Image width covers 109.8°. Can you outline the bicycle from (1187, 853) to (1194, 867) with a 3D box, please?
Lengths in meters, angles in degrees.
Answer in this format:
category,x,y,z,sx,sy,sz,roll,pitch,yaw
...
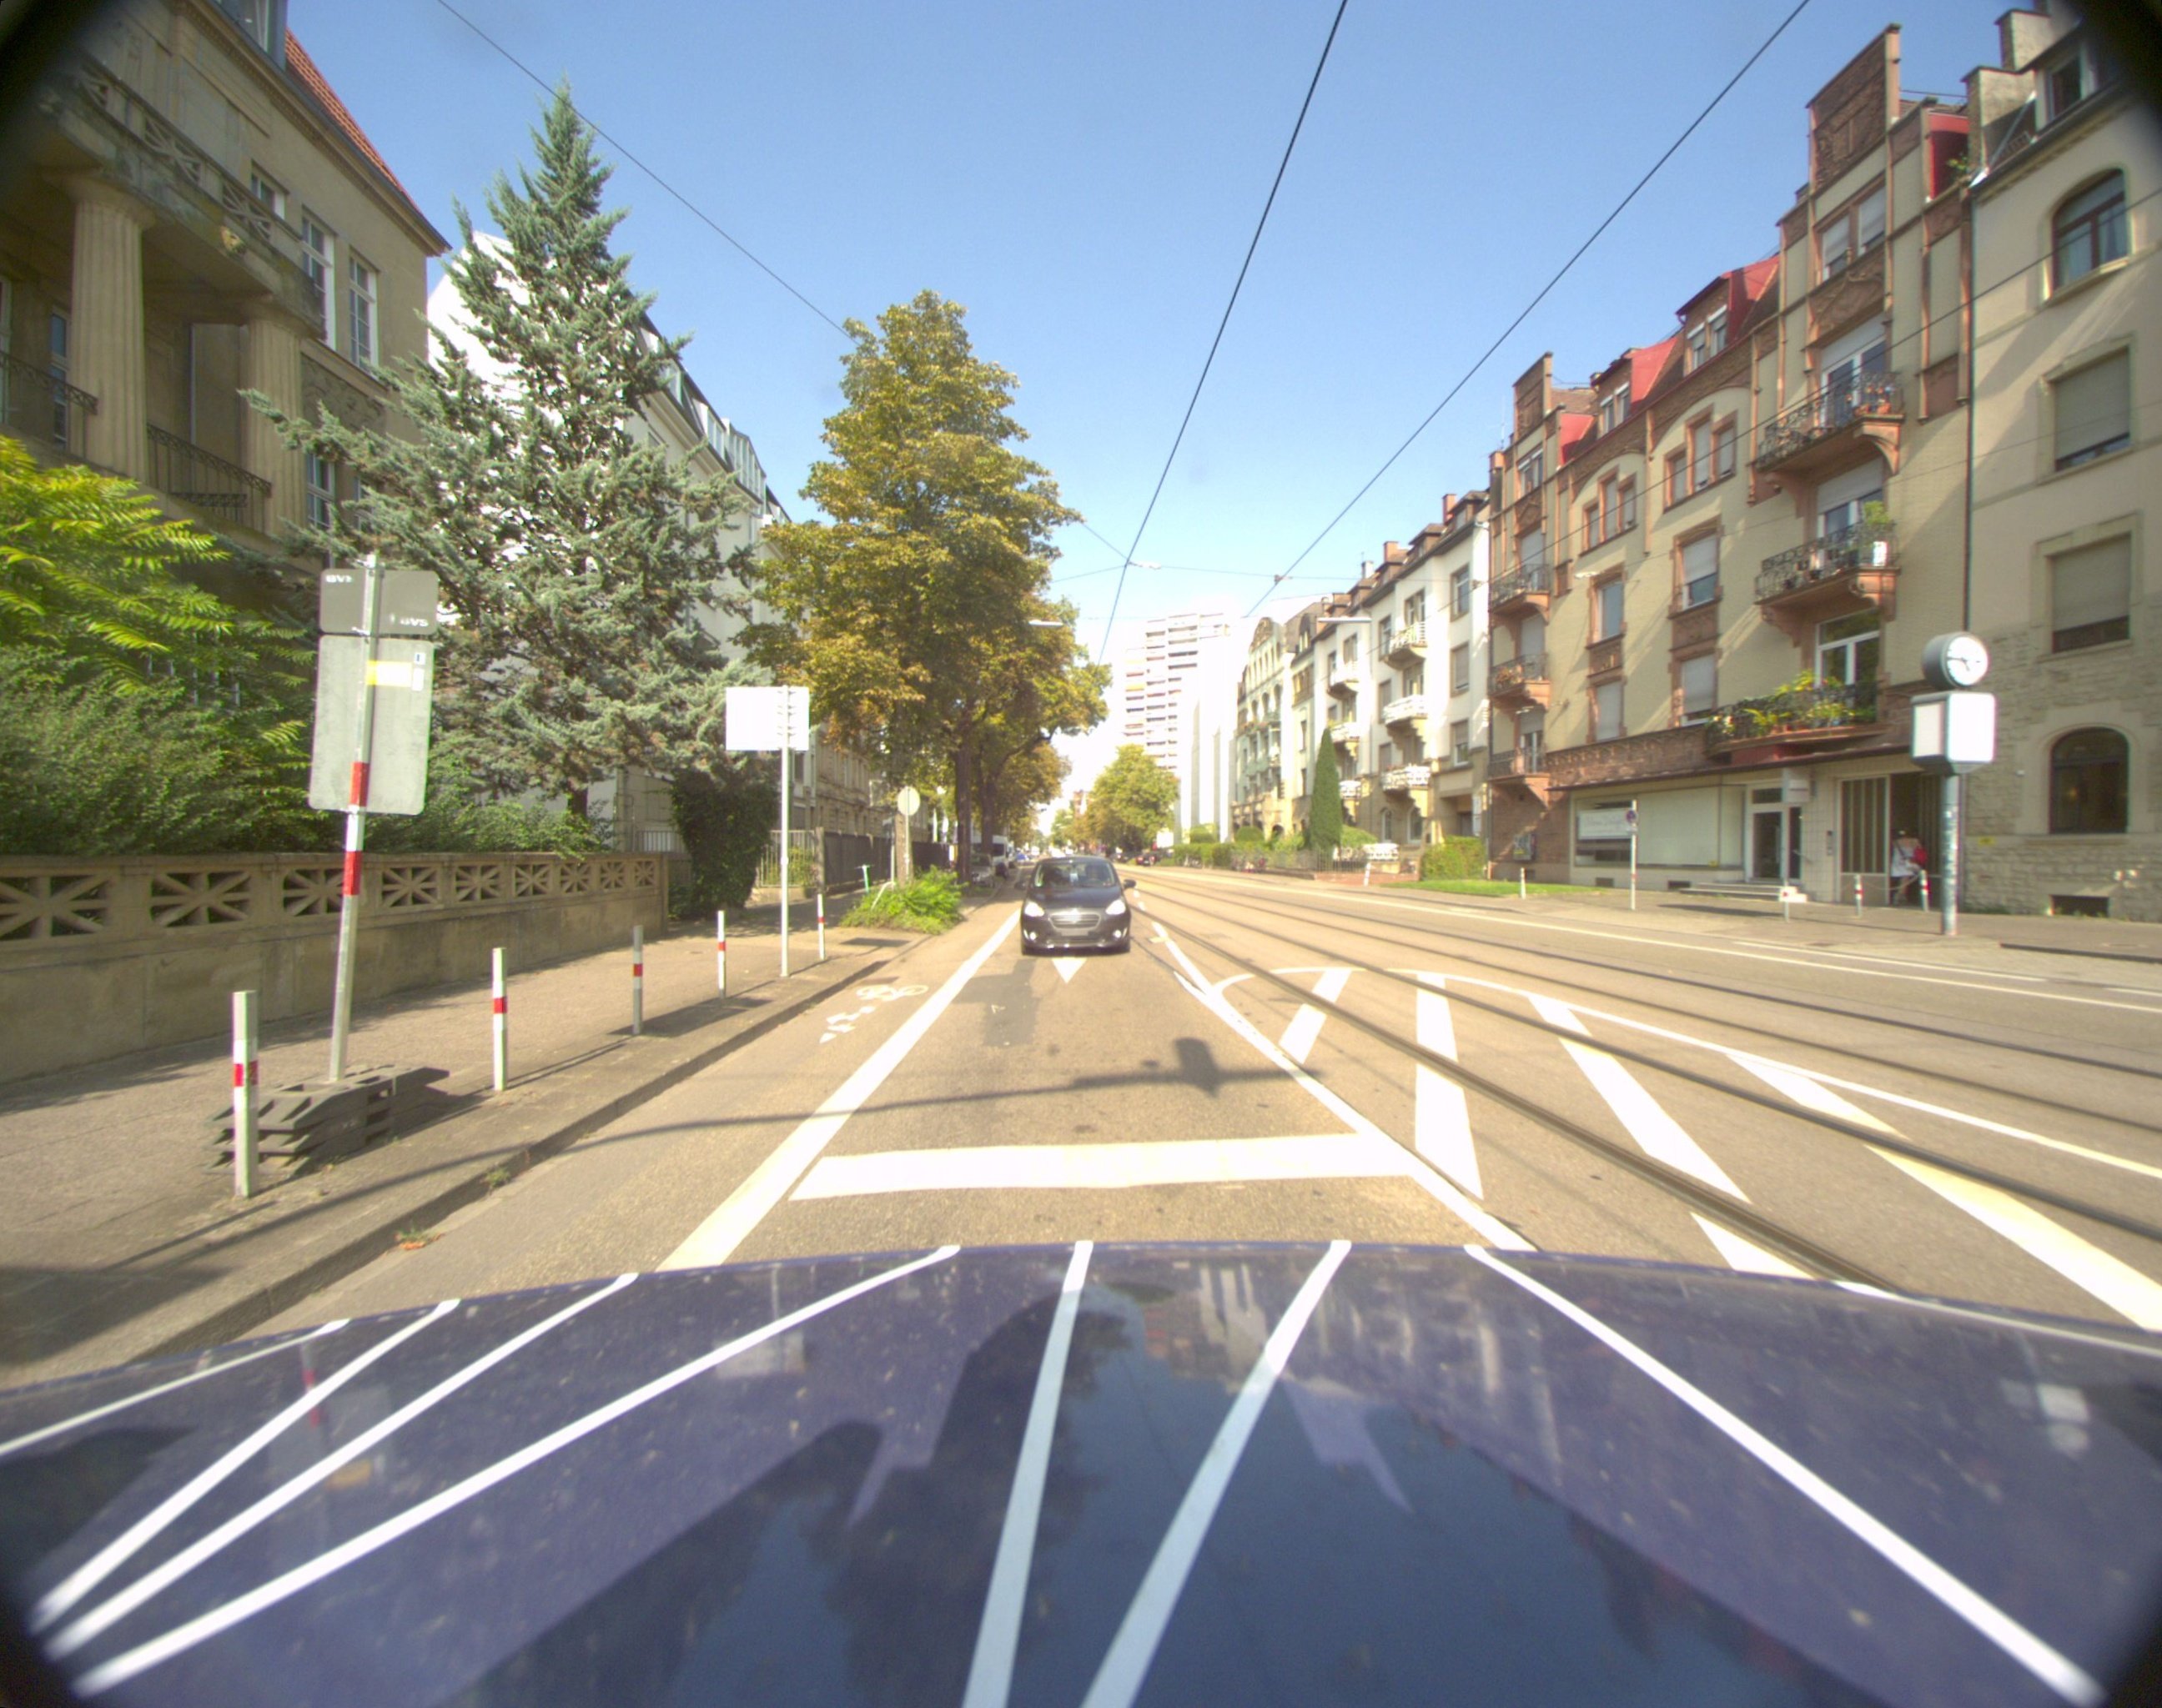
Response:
category,x,y,z,sx,sy,sz,roll,pitch,yaw
bicycle,9.193,0.500,63.751,0.425,1.081,1.677,0,1,5

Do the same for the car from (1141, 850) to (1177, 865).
category,x,y,z,sx,sy,sz,roll,pitch,yaw
car,8.419,0.338,81.638,1.767,1.518,4.009,1,1,42

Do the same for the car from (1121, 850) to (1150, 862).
category,x,y,z,sx,sy,sz,roll,pitch,yaw
car,6.824,0.234,94.718,1.767,1.518,4.008,1,1,37

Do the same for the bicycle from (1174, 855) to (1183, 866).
category,x,y,z,sx,sy,sz,roll,pitch,yaw
bicycle,8.843,0.555,69.082,0.426,0.972,1.769,0,0,-5

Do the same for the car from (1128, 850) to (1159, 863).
category,x,y,z,sx,sy,sz,roll,pitch,yaw
car,7.582,0.279,91.909,1.767,1.518,4.008,1,1,37

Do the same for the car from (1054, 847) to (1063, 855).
category,x,y,z,sx,sy,sz,roll,pitch,yaw
car,-5.603,-0.849,189.331,2.000,2.002,4.856,0,0,-7

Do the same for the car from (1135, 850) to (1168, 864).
category,x,y,z,sx,sy,sz,roll,pitch,yaw
car,7.884,0.323,84.451,1.767,1.518,4.008,1,1,37

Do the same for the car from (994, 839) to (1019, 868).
category,x,y,z,sx,sy,sz,roll,pitch,yaw
car,-6.919,-0.021,70.828,1.999,2.526,5.865,2,0,-3

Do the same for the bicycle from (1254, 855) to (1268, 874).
category,x,y,z,sx,sy,sz,roll,pitch,yaw
bicycle,10.570,0.623,44.583,0.371,1.081,1.487,0,1,-4

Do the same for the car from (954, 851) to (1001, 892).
category,x,y,z,sx,sy,sz,roll,pitch,yaw
car,-4.331,0.697,32.220,1.611,1.515,4.355,3,0,-4

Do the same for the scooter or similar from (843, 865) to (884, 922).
category,x,y,z,sx,sy,sz,roll,pitch,yaw
scooter or similar,-4.923,0.880,17.273,0.559,1.190,1.034,3,1,2

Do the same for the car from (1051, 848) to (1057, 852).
category,x,y,z,sx,sy,sz,roll,pitch,yaw
car,-8.606,-1.263,244.310,1.701,1.395,4.643,-1,1,-5

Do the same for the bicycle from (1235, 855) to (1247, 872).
category,x,y,z,sx,sy,sz,roll,pitch,yaw
bicycle,10.352,0.580,49.110,0.371,1.081,1.354,0,1,-4

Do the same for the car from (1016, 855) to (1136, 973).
category,x,y,z,sx,sy,sz,roll,pitch,yaw
car,-0.210,0.821,12.590,1.611,1.515,4.355,-1,1,-4

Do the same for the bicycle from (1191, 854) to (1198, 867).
category,x,y,z,sx,sy,sz,roll,pitch,yaw
bicycle,9.398,0.517,62.953,0.425,1.081,1.677,0,1,5

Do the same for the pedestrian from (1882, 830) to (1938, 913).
category,x,y,z,sx,sy,sz,roll,pitch,yaw
pedestrian,18.988,0.388,17.426,0.774,1.849,0.832,1,1,42

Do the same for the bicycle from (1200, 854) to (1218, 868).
category,x,y,z,sx,sy,sz,roll,pitch,yaw
bicycle,10.072,0.521,59.890,1.397,1.081,0.425,0,1,-21

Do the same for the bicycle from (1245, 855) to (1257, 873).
category,x,y,z,sx,sy,sz,roll,pitch,yaw
bicycle,10.365,0.604,46.347,0.371,1.081,1.354,0,1,-4

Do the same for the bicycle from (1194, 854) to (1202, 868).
category,x,y,z,sx,sy,sz,roll,pitch,yaw
bicycle,9.387,0.545,60.853,0.425,1.081,1.676,0,1,0

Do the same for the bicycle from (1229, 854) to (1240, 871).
category,x,y,z,sx,sy,sz,roll,pitch,yaw
bicycle,10.285,0.578,50.879,0.371,1.081,1.354,0,1,-4

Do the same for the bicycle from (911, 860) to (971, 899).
category,x,y,z,sx,sy,sz,roll,pitch,yaw
bicycle,-4.490,0.821,24.508,1.846,1.160,0.503,2,5,-44

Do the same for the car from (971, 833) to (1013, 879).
category,x,y,z,sx,sy,sz,roll,pitch,yaw
car,-5.075,0.091,43.923,2.052,2.484,6.226,1,0,-4

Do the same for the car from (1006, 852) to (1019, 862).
category,x,y,z,sx,sy,sz,roll,pitch,yaw
car,-8.915,0.393,99.105,1.758,1.349,3.786,0,0,-5

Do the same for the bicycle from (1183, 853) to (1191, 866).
category,x,y,z,sx,sy,sz,roll,pitch,yaw
bicycle,9.183,0.483,65.764,0.425,1.081,1.676,0,1,-2

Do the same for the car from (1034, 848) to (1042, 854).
category,x,y,z,sx,sy,sz,roll,pitch,yaw
car,-12.009,-0.759,212.681,2.000,1.572,4.156,0,0,-7

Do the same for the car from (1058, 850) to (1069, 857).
category,x,y,z,sx,sy,sz,roll,pitch,yaw
car,-3.639,-0.121,157.226,1.878,1.446,4.542,2,0,-7

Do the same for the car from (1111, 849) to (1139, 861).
category,x,y,z,sx,sy,sz,roll,pitch,yaw
car,5.998,0.142,103.529,1.767,1.518,4.008,1,1,37

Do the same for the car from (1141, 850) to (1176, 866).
category,x,y,z,sx,sy,sz,roll,pitch,yaw
car,7.974,0.403,77.815,1.767,1.518,4.008,1,1,37
